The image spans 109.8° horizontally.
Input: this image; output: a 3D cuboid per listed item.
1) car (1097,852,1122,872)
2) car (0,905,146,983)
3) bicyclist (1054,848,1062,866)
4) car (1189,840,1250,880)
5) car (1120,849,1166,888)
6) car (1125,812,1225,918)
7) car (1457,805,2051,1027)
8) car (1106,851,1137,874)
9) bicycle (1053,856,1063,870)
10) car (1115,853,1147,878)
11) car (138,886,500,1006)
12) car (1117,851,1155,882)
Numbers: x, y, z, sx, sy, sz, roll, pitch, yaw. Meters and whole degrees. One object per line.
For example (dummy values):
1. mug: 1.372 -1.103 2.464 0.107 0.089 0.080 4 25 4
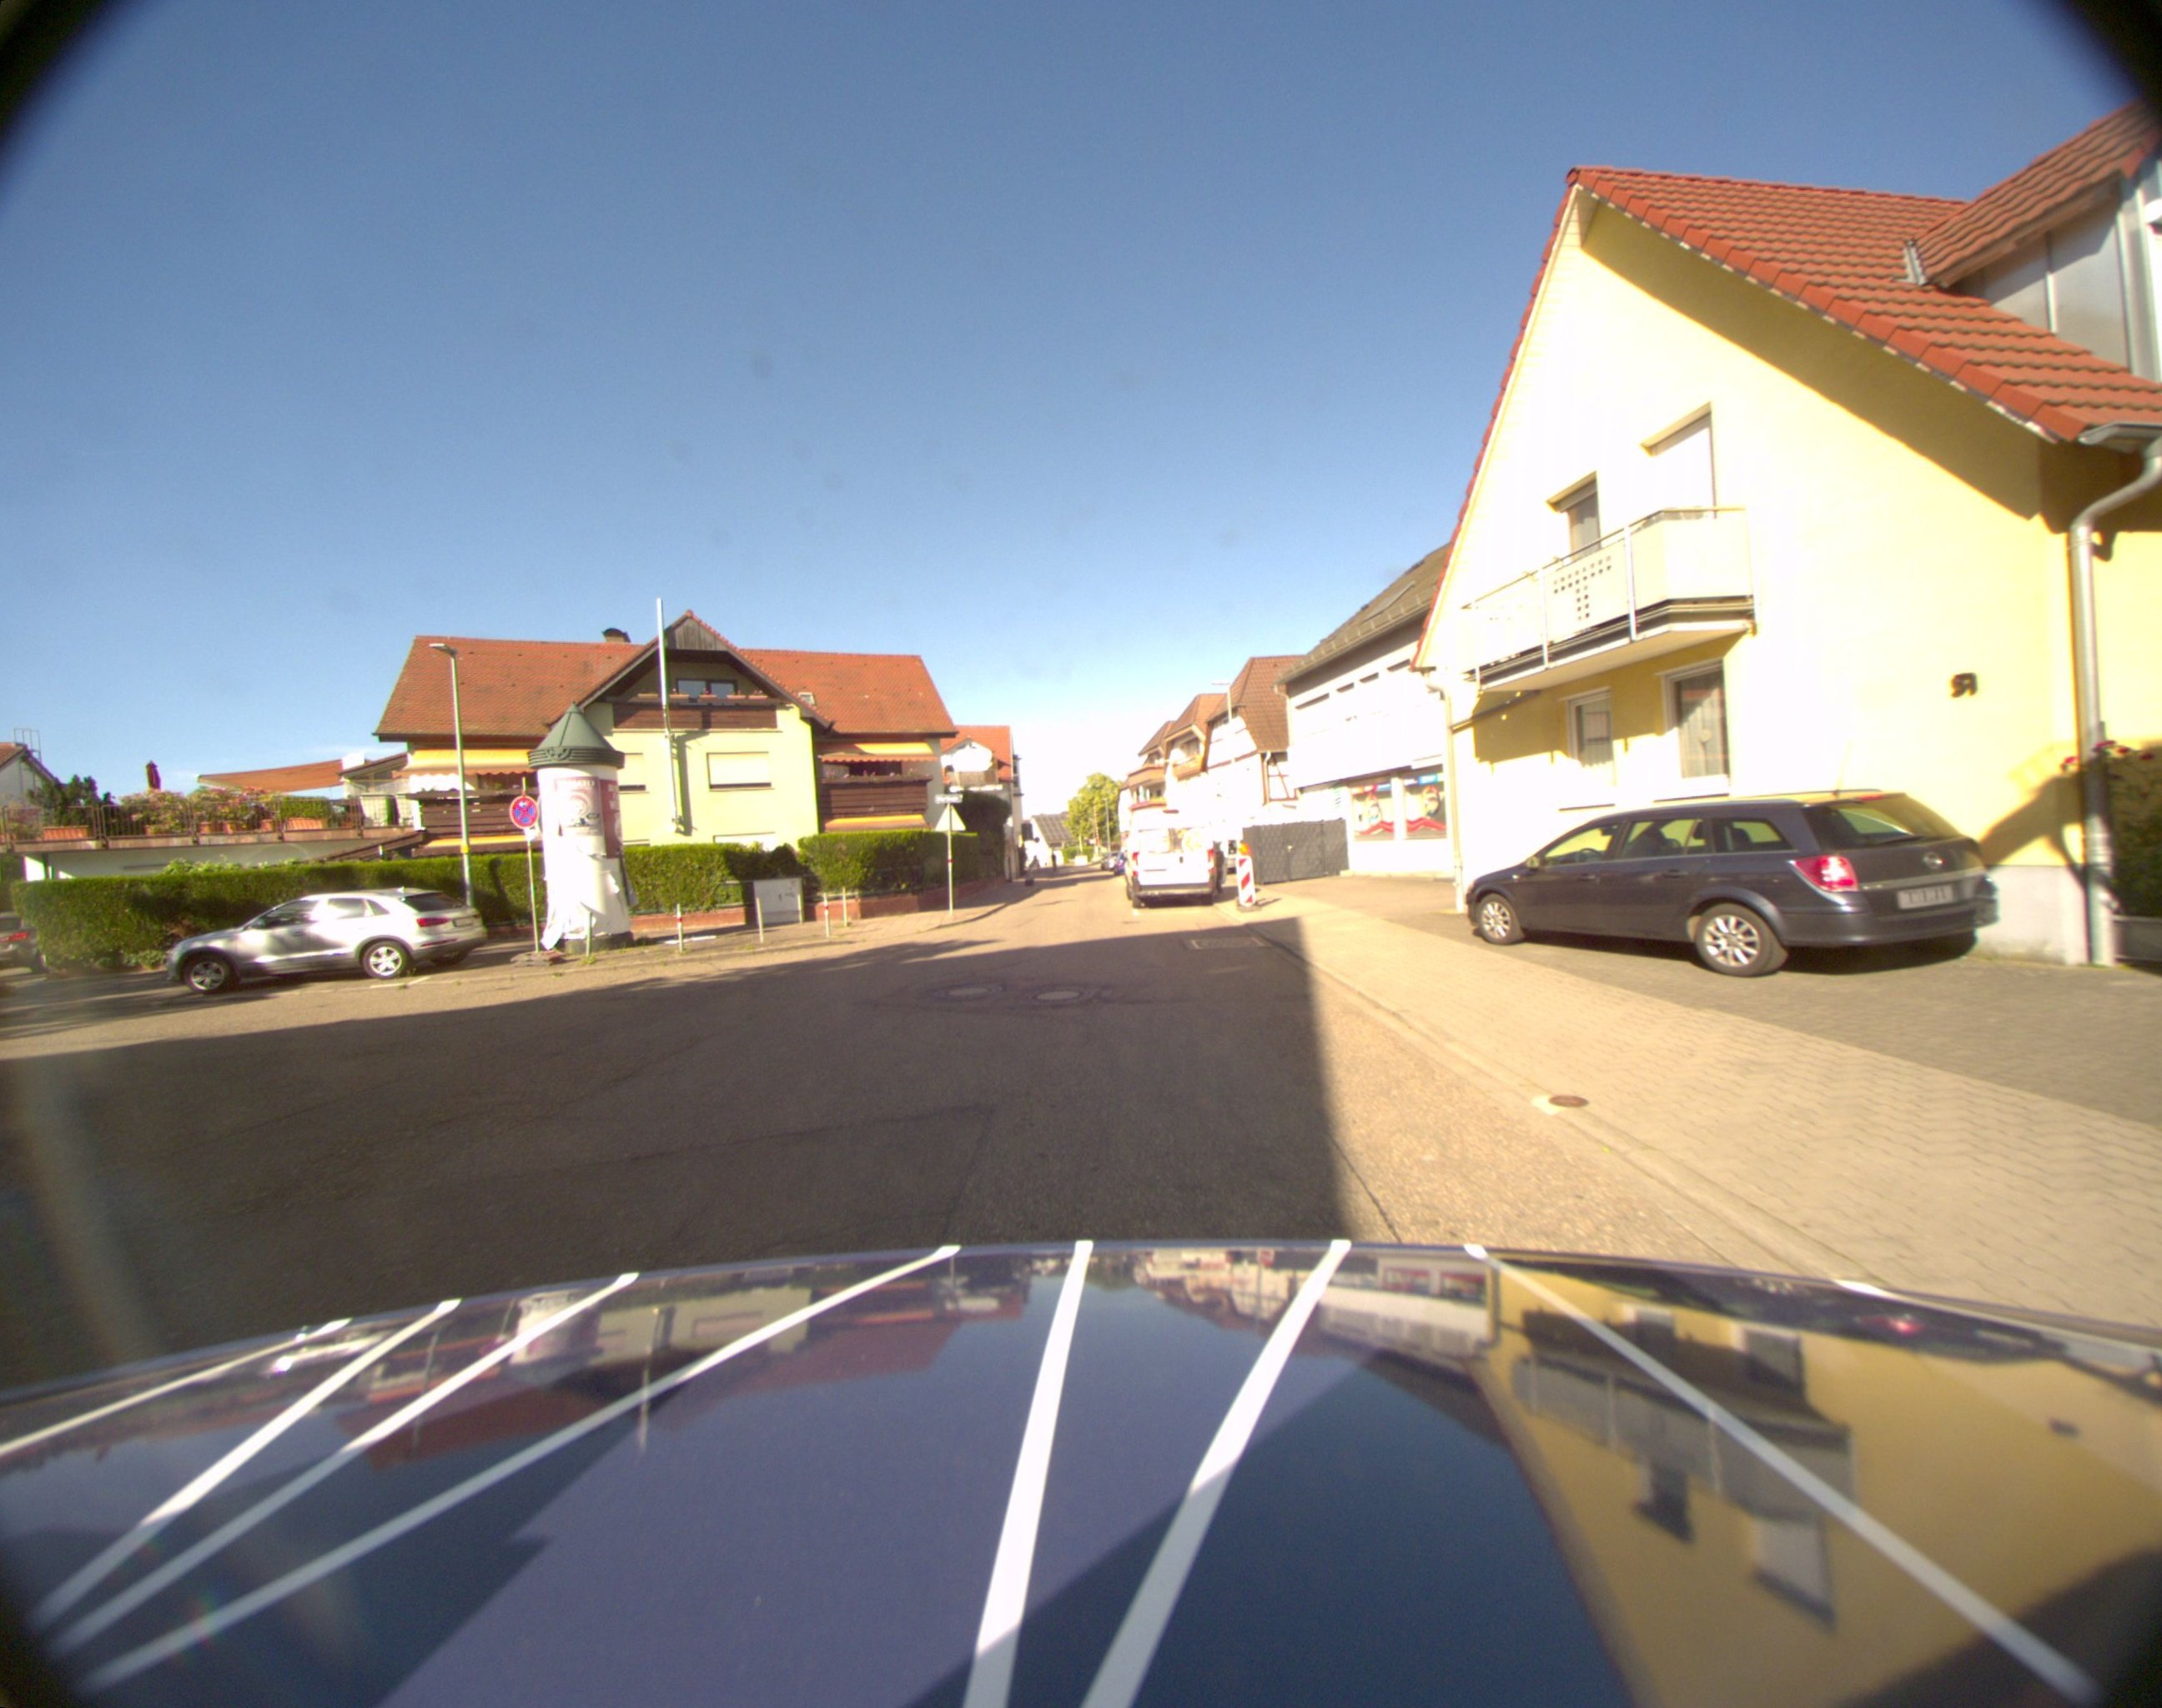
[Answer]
1. car: 2.319 0.641 63.171 1.628 1.469 3.614 -4 1 -3
2. car: -26.973 2.316 19.725 1.700 1.561 3.716 -4 2 -22
3. bicyclist: -2.166 0.310 71.076 0.643 1.655 0.605 -2 1 4
4. car: 6.218 0.249 34.505 1.647 1.578 4.110 -5 1 -4
5. car: 2.840 0.624 35.620 1.727 1.609 4.111 -4 1 0
6. car: 2.455 0.249 21.323 2.258 2.456 5.516 -4 1 3
7. car: 5.949 0.438 7.536 1.694 1.437 4.172 -5 1 -11
8. car: 2.984 0.624 56.926 1.763 1.547 3.998 -4 1 -3
9. bicycle: -2.145 0.823 71.142 0.639 1.175 2.022 -3 0 4
10. car: 3.149 0.697 48.266 1.622 1.431 3.955 -4 1 -1
11. car: -13.564 1.580 13.832 4.304 1.584 1.812 -3 2 -10
12. car: 2.920 0.632 40.770 1.659 1.498 3.683 -4 1 0
